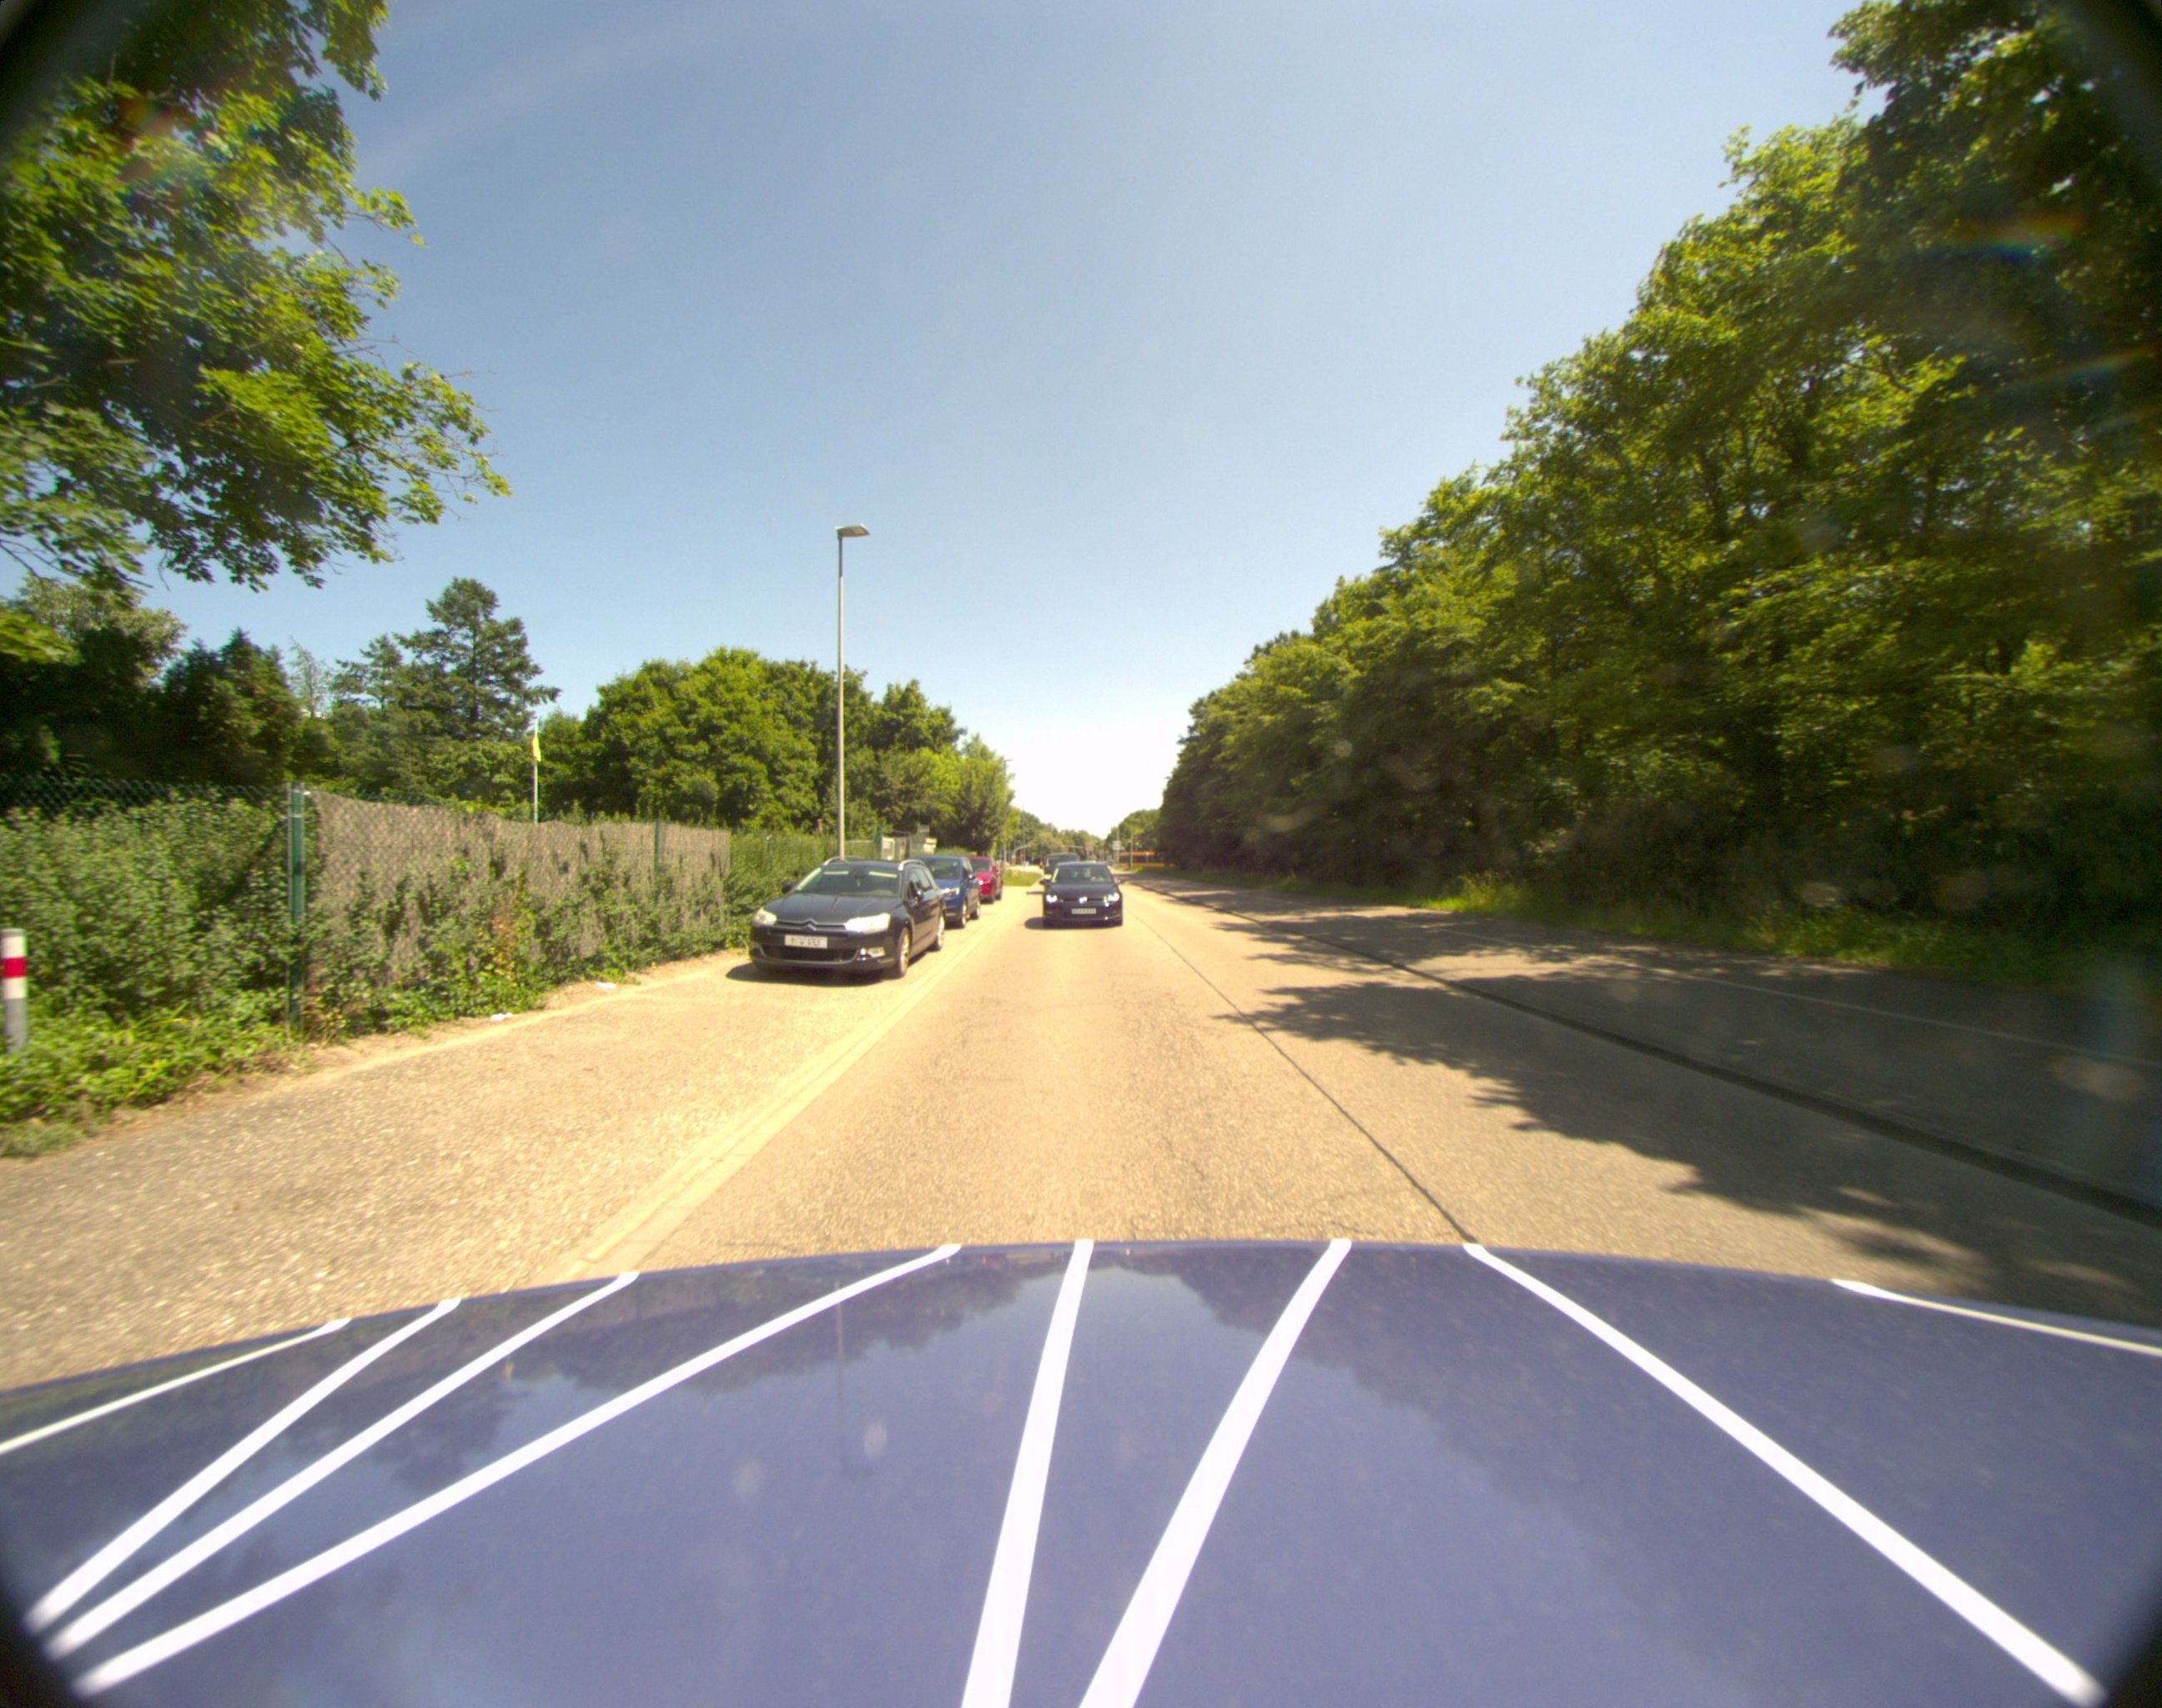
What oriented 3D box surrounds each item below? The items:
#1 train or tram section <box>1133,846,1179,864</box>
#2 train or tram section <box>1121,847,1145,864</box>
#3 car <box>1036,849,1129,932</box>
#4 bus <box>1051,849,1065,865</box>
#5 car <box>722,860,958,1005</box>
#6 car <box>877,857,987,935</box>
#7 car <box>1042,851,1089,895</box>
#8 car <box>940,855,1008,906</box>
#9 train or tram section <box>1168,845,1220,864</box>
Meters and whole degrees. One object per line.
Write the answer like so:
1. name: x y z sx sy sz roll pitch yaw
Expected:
1. train or tram section: 14.677 0.271 149.855 2.656 3.445 10.827 -1 0 -34
2. train or tram section: 10.795 0.319 159.478 2.579 3.445 10.845 -1 0 -10
3. car: 0.029 0.763 18.220 1.887 1.667 4.662 -2 0 0
4. bus: -4.981 0.622 165.478 2.932 3.248 8.328 -1 0 -2
5. car: -3.066 0.902 10.801 1.794 1.473 4.664 4 0 0
6. car: -3.306 0.872 17.622 1.794 1.594 4.129 0 0 -1
7. car: -0.816 0.884 37.559 2.002 1.965 4.448 -1 0 -5
8. car: -3.797 0.885 27.633 1.794 1.648 4.452 3 0 0
9. train or tram section: 21.291 0.094 143.604 9.327 3.446 2.788 -1 0 30
